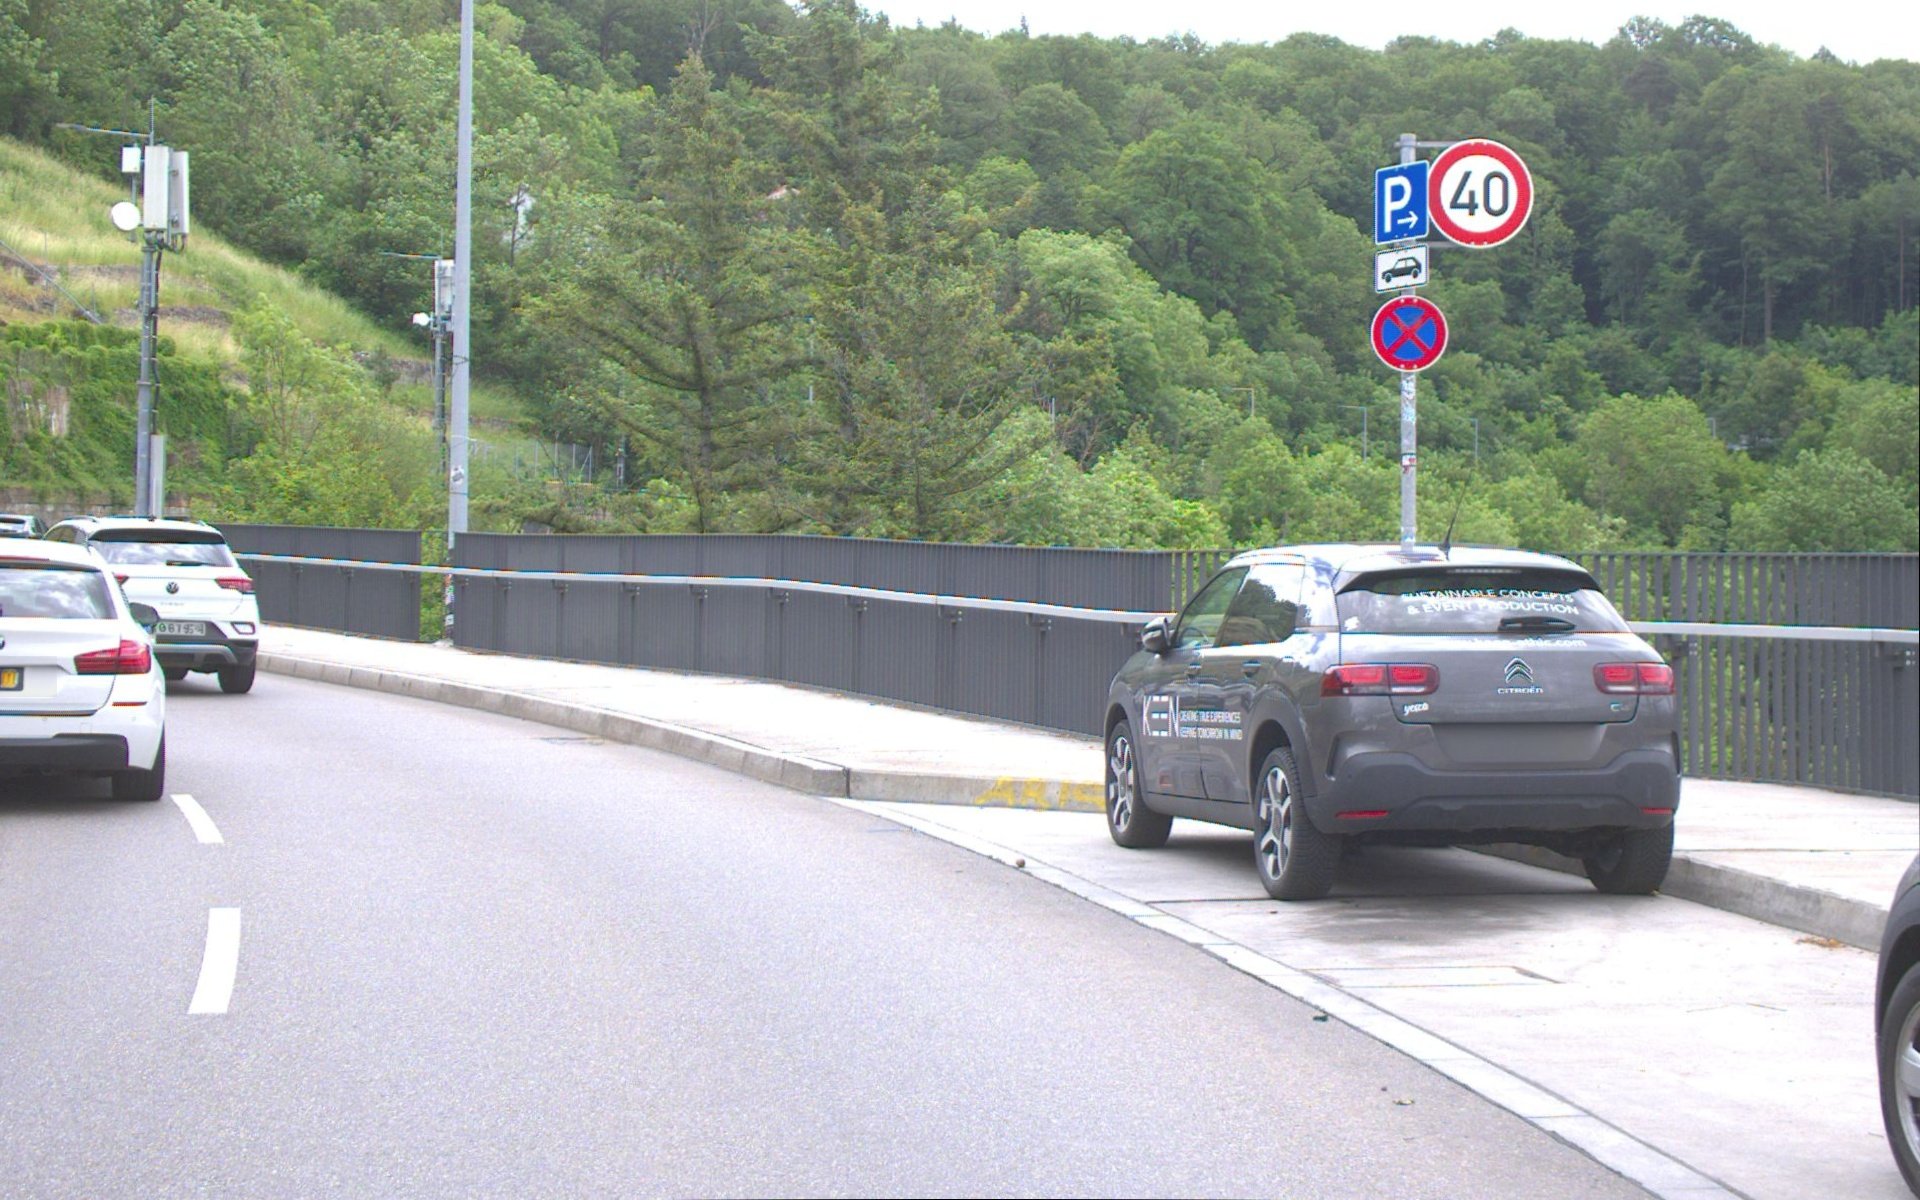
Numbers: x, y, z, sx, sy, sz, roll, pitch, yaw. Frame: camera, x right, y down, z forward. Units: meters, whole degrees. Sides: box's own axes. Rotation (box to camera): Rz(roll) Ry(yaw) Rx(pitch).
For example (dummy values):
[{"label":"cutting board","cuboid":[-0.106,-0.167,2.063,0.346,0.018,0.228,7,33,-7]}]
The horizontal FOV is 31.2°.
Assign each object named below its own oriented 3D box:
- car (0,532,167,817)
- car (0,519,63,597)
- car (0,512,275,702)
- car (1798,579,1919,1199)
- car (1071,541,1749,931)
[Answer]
[{"label":"car","cuboid":[-5.573,0.343,19.963,1.827,1.454,4.487,0,1,-14]},{"label":"car","cuboid":[-23.899,-1.031,86.424,1.869,1.756,4.000,0,-2,-3]},{"label":"car","cuboid":[-7.696,0.007,31.756,1.827,1.600,4.001,-2,2,-24]},{"label":"car","cuboid":[3.105,0.688,6.350,1.714,1.426,3.851,0,1,-8]},{"label":"car","cuboid":[1.879,0.524,15.744,1.874,1.537,4.091,1,1,-11]}]
